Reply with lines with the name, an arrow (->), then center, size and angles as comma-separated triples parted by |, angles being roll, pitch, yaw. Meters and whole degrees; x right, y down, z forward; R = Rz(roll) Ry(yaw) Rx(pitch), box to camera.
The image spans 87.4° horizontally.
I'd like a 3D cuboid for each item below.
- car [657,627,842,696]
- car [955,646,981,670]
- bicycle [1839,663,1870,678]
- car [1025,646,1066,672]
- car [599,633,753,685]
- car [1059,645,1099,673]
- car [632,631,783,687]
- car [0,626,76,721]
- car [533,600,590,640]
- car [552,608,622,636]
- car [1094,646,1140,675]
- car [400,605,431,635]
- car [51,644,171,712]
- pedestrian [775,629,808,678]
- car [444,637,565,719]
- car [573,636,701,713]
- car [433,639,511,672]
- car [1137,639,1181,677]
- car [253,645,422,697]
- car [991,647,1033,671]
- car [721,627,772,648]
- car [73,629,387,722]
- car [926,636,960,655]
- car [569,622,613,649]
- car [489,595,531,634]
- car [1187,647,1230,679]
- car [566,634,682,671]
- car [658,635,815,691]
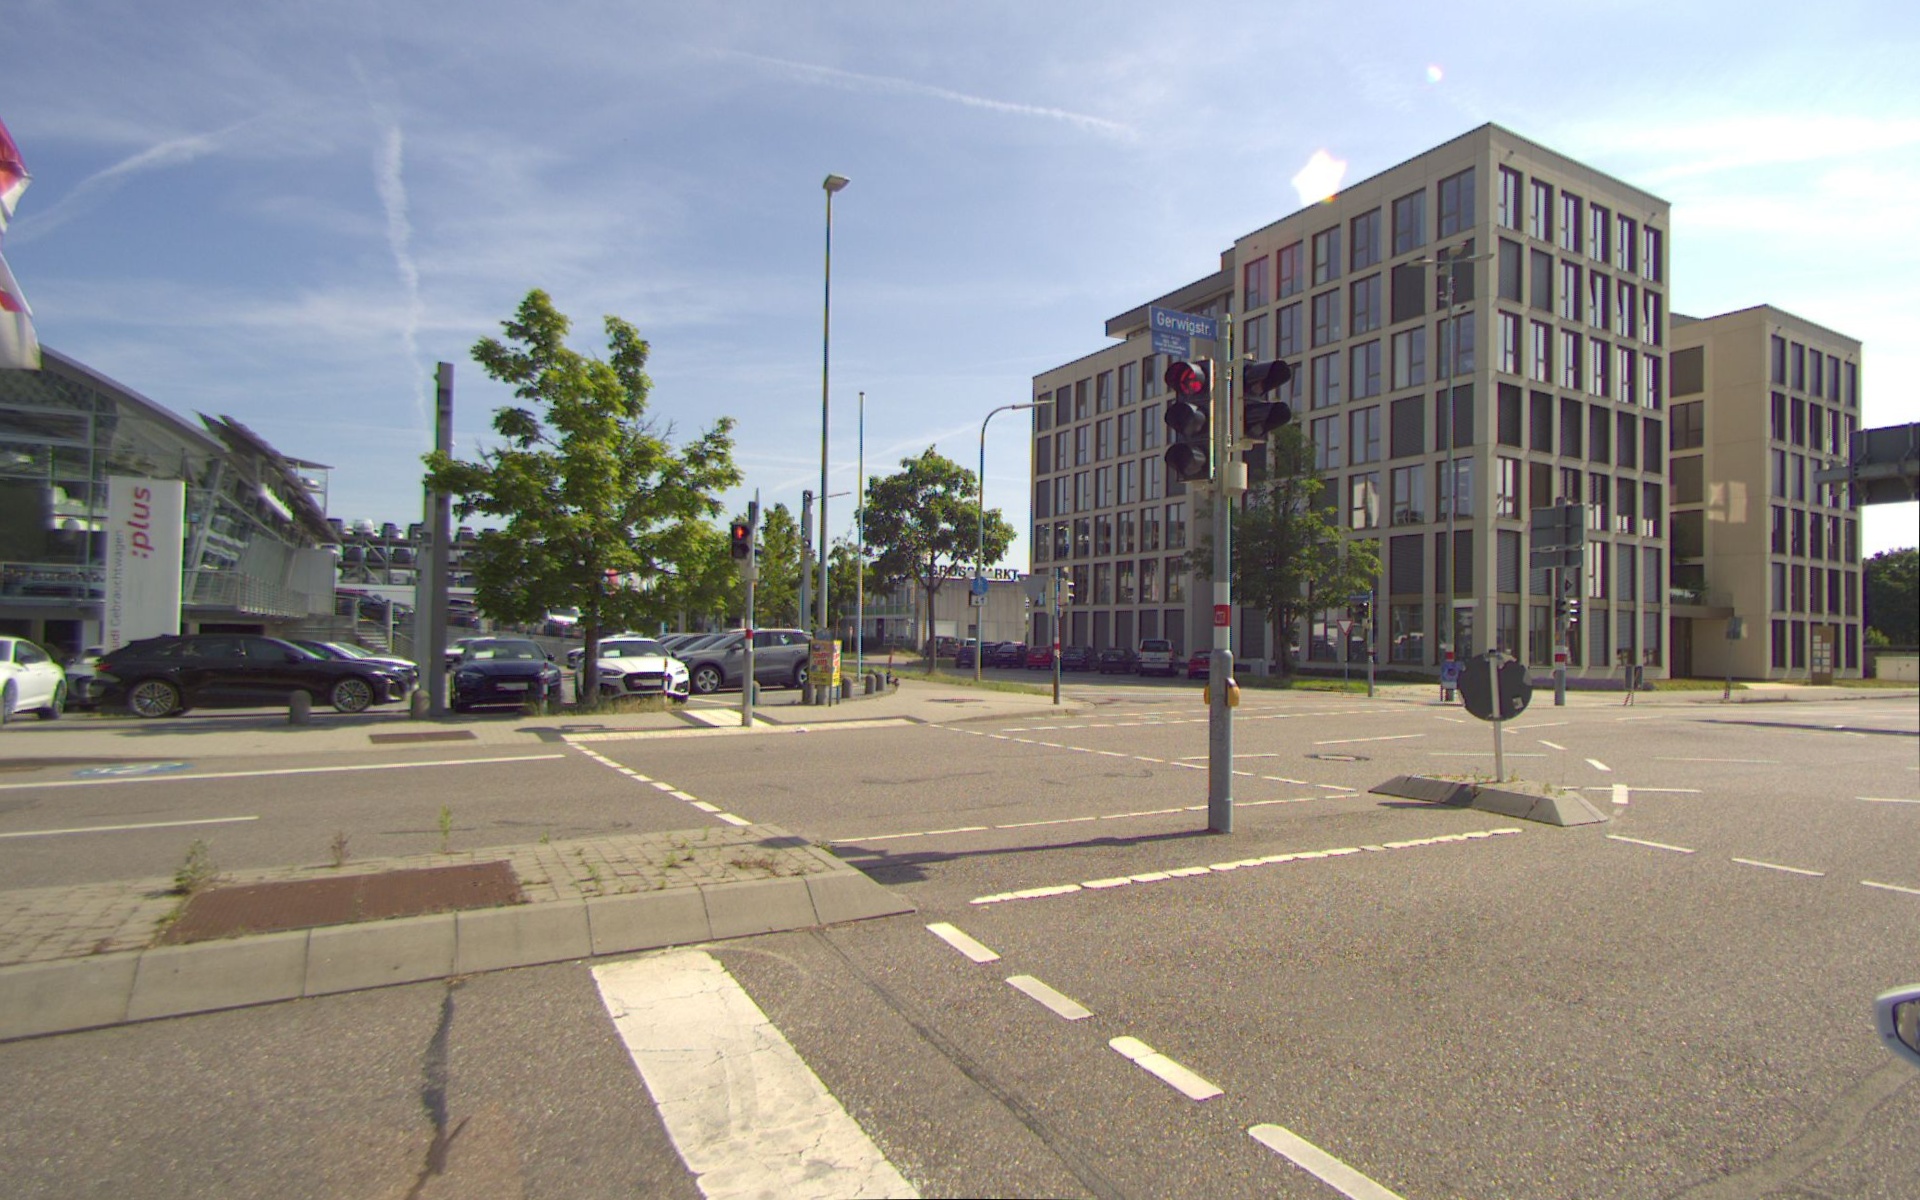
car -> -5.630, 1.592, 26.997 | 4.539, 1.635, 1.806 | -1, -1, -30
car -> 0.532, 3.747, 65.617 | 1.638, 1.434, 3.617 | 1, -2, 1
bicycle -> 68.889, 5.448, 77.399 | 0.581, 1.106, 1.696 | 2, -2, -27
car -> 5.335, 3.637, 62.435 | 1.655, 1.499, 4.002 | 0, -2, 18
car -> -9.575, 1.940, 33.943 | 4.721, 1.525, 1.779 | -1, -1, -31
car -> 7.080, 3.468, 59.641 | 1.628, 1.517, 3.965 | 0, -2, 18
car -> -8.000, 1.824, 31.938 | 4.324, 1.564, 1.779 | -1, -1, -31
car -> -15.757, 1.181, 15.854 | 1.856, 1.387, 4.055 | 2, -5, -29
car -> -22.025, 1.094, 55.480 | 2.066, 1.932, 4.509 | 7, -4, -31
car -> -28.214, 1.700, 76.016 | 4.697, 2.040, 1.984 | 2, -3, -31
car -> 8.794, 3.341, 56.106 | 1.772, 1.533, 4.000 | 0, -2, 20
car -> -38.192, 1.420, 70.477 | 1.831, 2.040, 4.040 | 2, -3, -29
car -> -21.019, 1.890, 25.007 | 1.641, 1.492, 3.491 | 2, -2, -30
pedestrian -> -6.218, 1.973, 37.055 | 0.906, 1.772, 0.996 | 2, -3, -30
car -> -9.059, 1.466, 19.817 | 1.744, 1.421, 3.815 | 2, -3, -31
car -> -6.953, 1.501, 21.342 | 1.876, 1.451, 4.357 | 2, -3, -27
car -> -23.368, 2.641, 48.238 | 1.762, 1.461, 4.028 | 1, -2, 0
car -> 10.611, 3.039, 53.403 | 1.860, 1.845, 4.816 | 0, -2, 17
car -> -17.922, 2.053, 29.133 | 4.018, 1.396, 1.779 | 3, -3, -31
car -> 3.381, 3.761, 64.733 | 1.686, 1.434, 4.002 | 0, -2, 18
car -> -26.533, 4.665, 124.785 | 5.827, 2.463, 2.361 | 3, -2, -26
car -> -12.959, 1.324, 18.250 | 4.372, 1.515, 1.790 | 2, -2, -30
car -> -1.681, 4.333, 96.635 | 1.726, 1.706, 3.974 | 2, -2, -26
car -> -24.497, 2.340, 66.550 | 1.978, 1.595, 3.952 | 2, -1, -31
car -> -28.938, 0.947, 64.468 | 2.063, 2.373, 5.510 | 1, -1, -28
car -> 12.454, 3.123, 50.225 | 1.772, 1.434, 4.031 | 0, -2, 18
car -> -14.554, 2.247, 43.581 | 4.506, 1.461, 1.779 | 0, -2, -31
car -> -6.551, 1.798, 29.537 | 4.151, 1.461, 1.779 | 0, -1, -31
